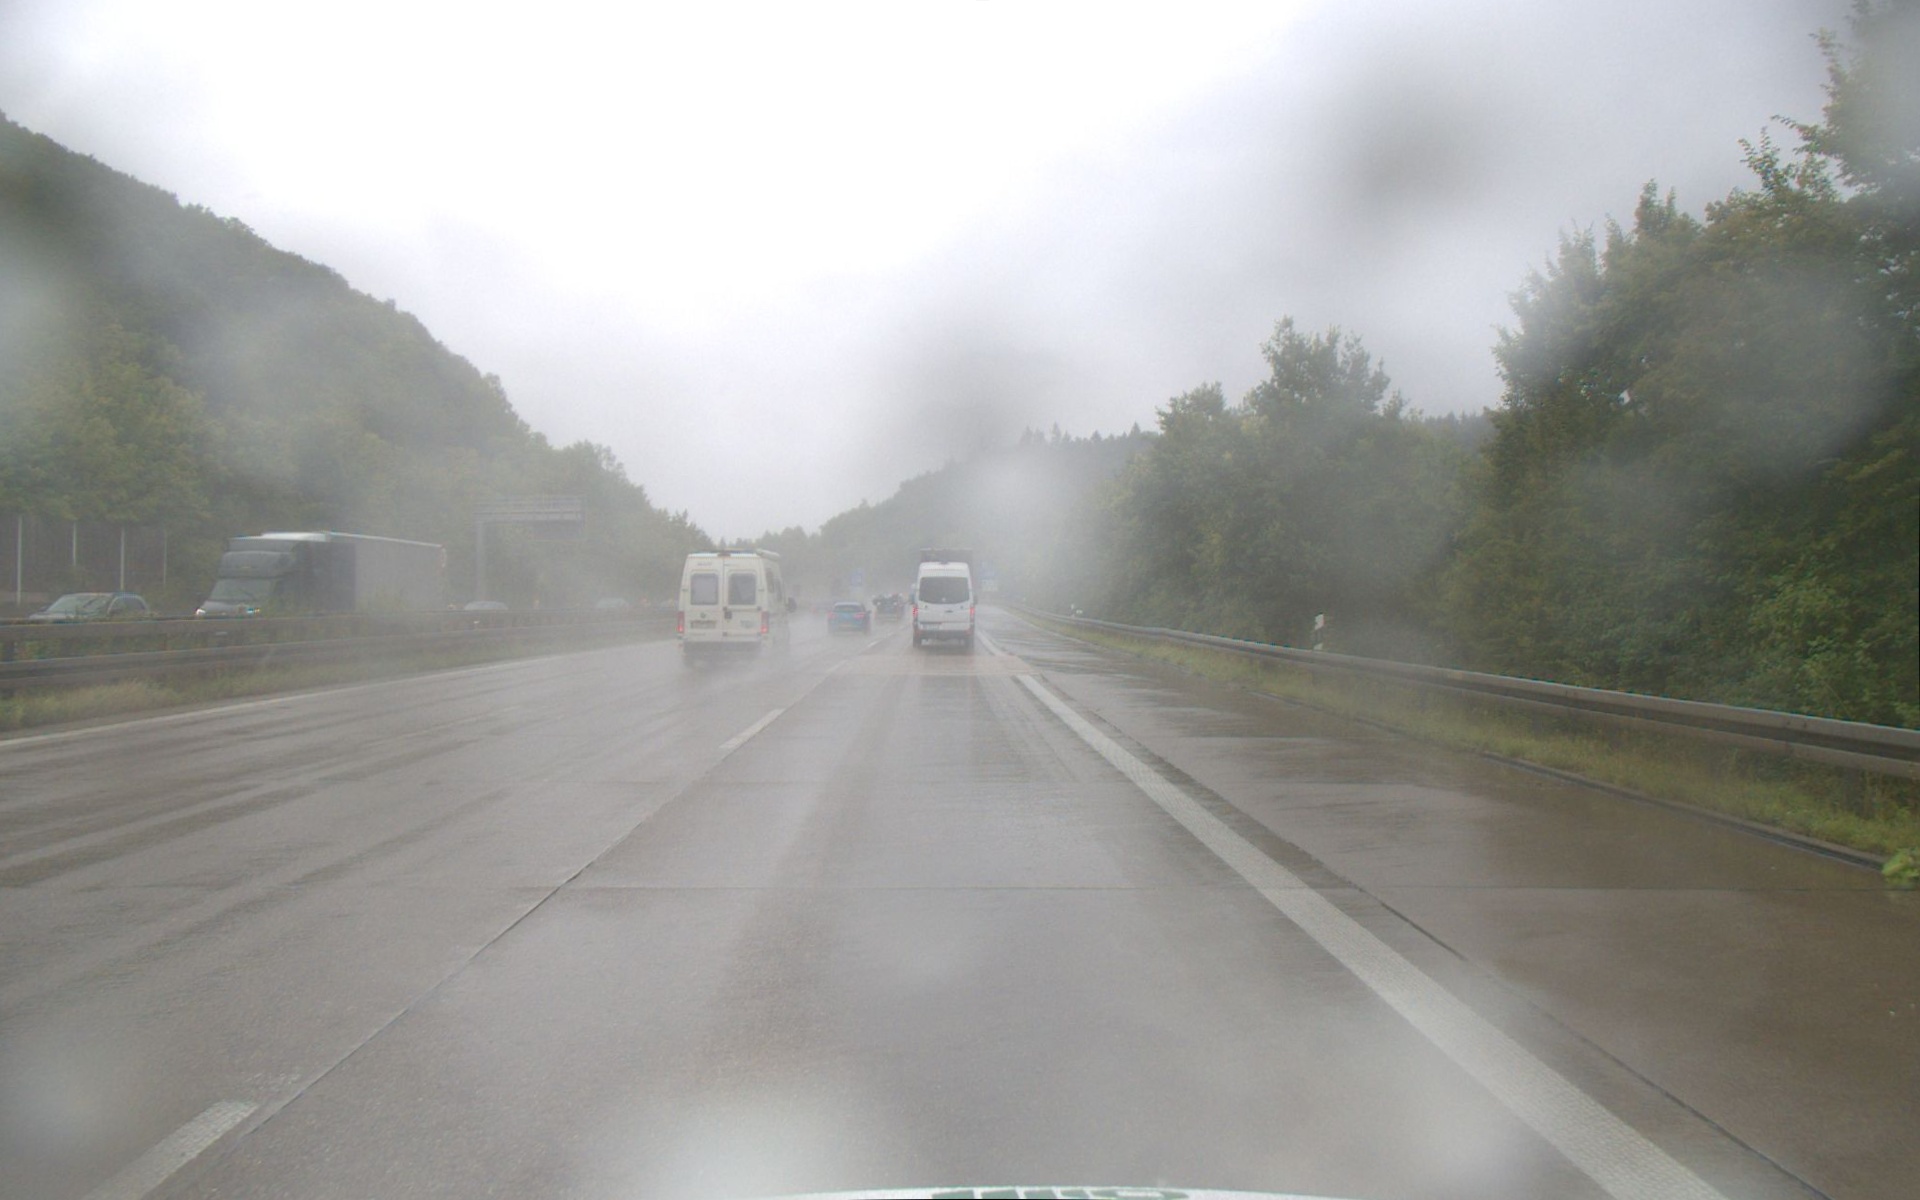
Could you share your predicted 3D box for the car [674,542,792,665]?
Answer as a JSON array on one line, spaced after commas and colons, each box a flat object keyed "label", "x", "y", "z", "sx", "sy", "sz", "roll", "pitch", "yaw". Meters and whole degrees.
[{"label": "car", "x": -4.964, "y": 0.056, "z": 36.931, "sx": 1.957, "sy": 2.474, "sz": 5.788, "roll": 2, "pitch": 0, "yaw": -2}]

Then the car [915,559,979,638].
[{"label": "car", "x": -0.462, "y": -0.038, "z": 53.479, "sx": 1.861, "sy": 2.374, "sz": 5.248, "roll": 2, "pitch": 0, "yaw": -2}]

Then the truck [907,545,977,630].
[{"label": "truck", "x": -0.949, "y": -0.737, "z": 83.999, "sx": 3.316, "sy": 4.037, "sz": 8.666, "roll": -1, "pitch": 2, "yaw": -1}]

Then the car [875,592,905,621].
[{"label": "car", "x": -4.577, "y": 0.413, "z": 108.634, "sx": 1.831, "sy": 1.841, "sz": 4.187, "roll": 2, "pitch": 0, "yaw": -2}]

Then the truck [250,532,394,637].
[{"label": "truck", "x": -25.210, "y": -0.584, "z": 65.790, "sx": 2.718, "sy": 3.868, "sz": 7.679, "roll": 2, "pitch": 0, "yaw": -1}]

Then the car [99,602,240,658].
[{"label": "car", "x": -21.087, "y": 0.768, "z": 44.310, "sx": 1.717, "sy": 1.362, "sz": 4.423, "roll": 2, "pitch": 0, "yaw": -2}]

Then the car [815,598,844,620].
[{"label": "car", "x": -8.515, "y": 0.565, "z": 108.198, "sx": 1.819, "sy": 1.362, "sz": 4.348, "roll": 2, "pitch": 0, "yaw": -4}]

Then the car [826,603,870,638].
[{"label": "car", "x": -4.864, "y": 0.872, "z": 72.141, "sx": 1.820, "sy": 1.362, "sz": 4.348, "roll": 2, "pitch": 0, "yaw": -4}]
